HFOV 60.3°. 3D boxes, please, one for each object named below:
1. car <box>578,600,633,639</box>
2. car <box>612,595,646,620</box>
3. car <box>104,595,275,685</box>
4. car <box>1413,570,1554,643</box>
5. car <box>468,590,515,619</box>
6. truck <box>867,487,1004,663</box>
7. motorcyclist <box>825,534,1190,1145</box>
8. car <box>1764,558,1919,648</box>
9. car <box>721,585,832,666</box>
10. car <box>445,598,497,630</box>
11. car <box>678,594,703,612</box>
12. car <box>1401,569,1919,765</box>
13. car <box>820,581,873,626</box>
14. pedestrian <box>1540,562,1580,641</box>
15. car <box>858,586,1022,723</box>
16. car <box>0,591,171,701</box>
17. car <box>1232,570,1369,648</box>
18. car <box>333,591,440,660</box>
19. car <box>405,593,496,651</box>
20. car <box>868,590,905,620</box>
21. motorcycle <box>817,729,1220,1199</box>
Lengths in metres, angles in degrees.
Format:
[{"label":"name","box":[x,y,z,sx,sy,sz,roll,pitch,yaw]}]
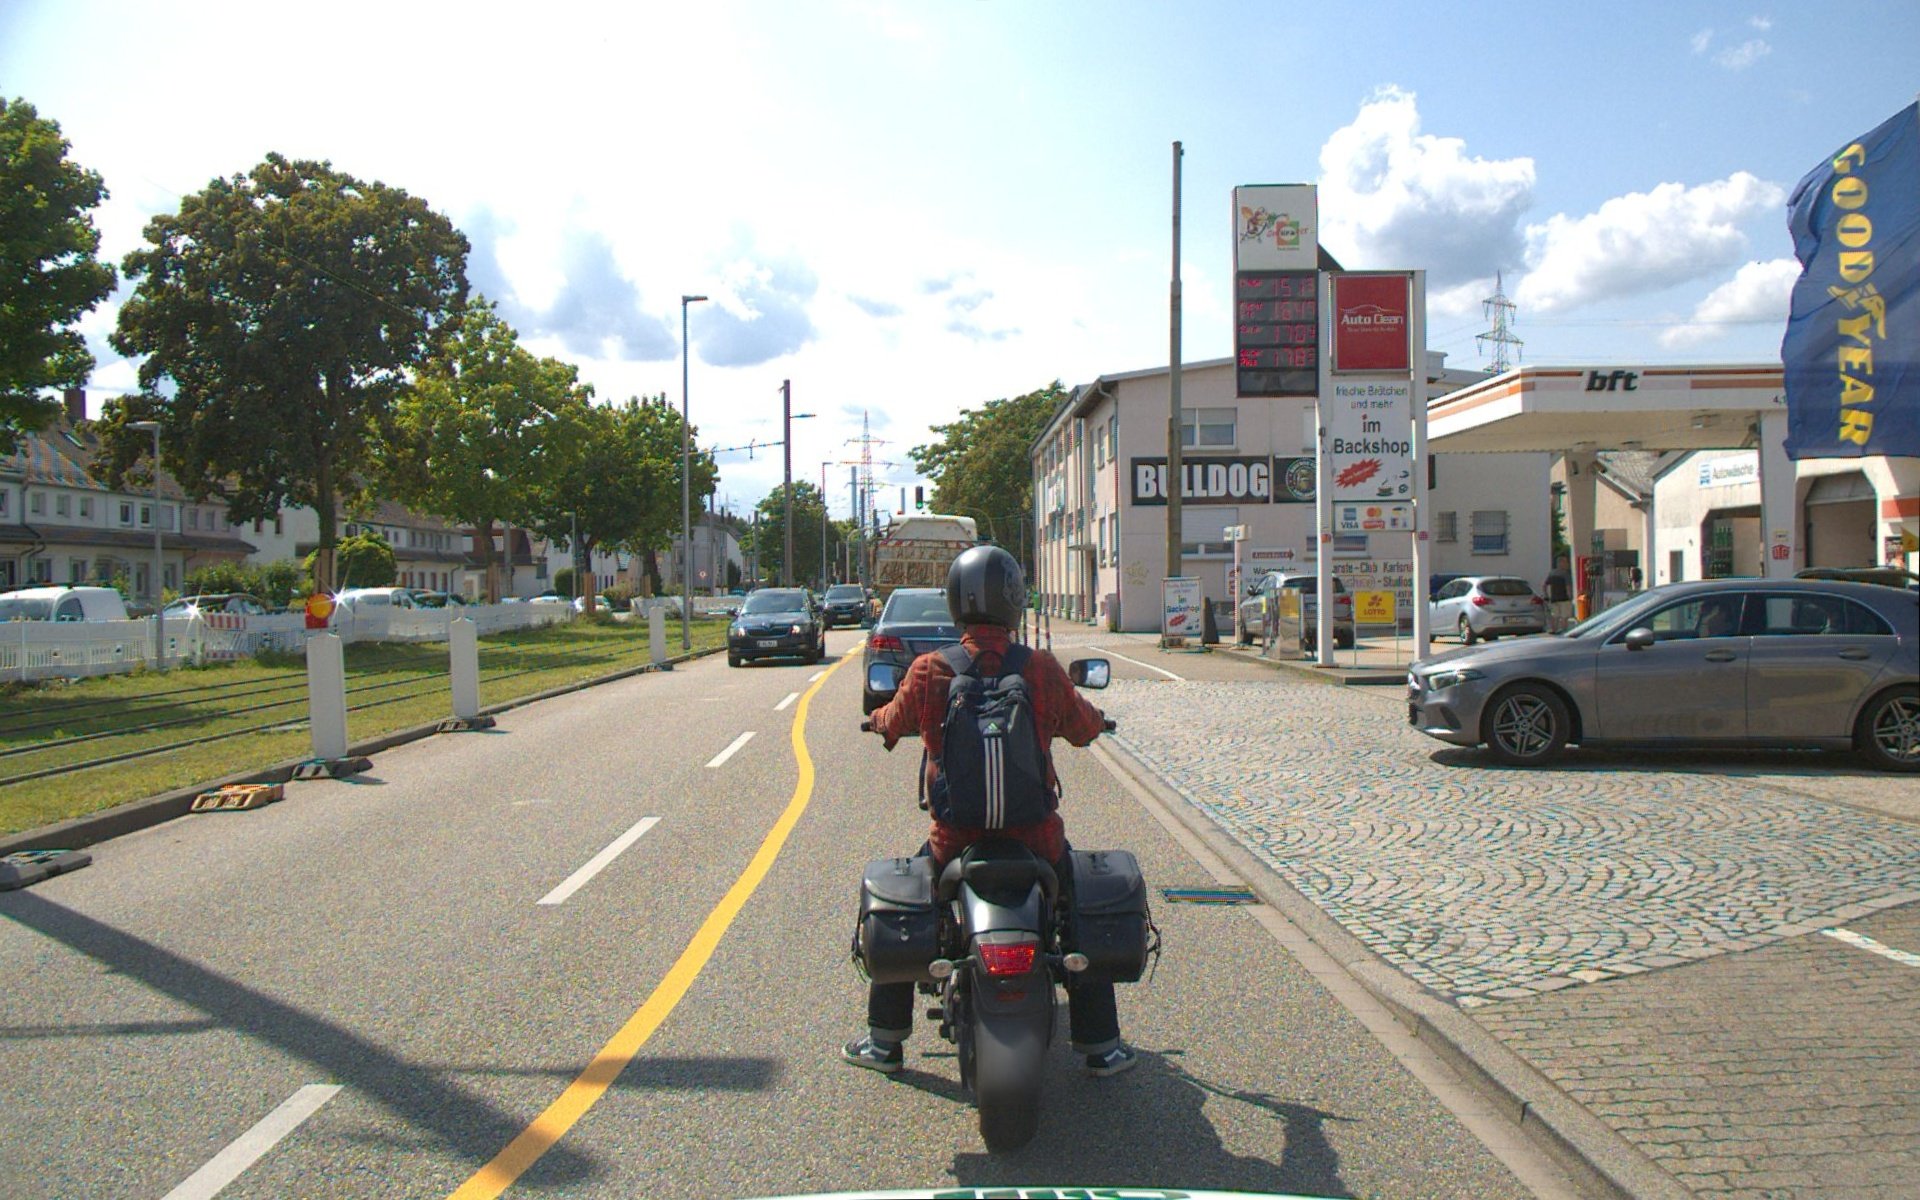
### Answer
[{"label":"car","box":[-17.055,0.906,79.680,1.740,1.753,4.127,-1,0,-1]},{"label":"car","box":[-24.964,0.544,124.847,1.740,1.753,4.127,-1,0,-1]},{"label":"car","box":[-16.673,0.812,36.021,1.740,1.805,4.227,-1,0,-1]},{"label":"car","box":[11.722,0.118,37.262,1.770,1.529,3.831,-1,0,-3]},{"label":"car","box":[-29.425,0.271,103.947,1.740,1.753,4.127,-1,0,-1]},{"label":"truck","box":[-0.527,-0.514,36.052,2.585,3.354,8.055,-1,0,-1]},{"label":"motorcyclist","box":[0.122,0.640,5.013,0.959,1.630,1.087,-1,0,-1]},{"label":"car","box":[16.619,0.023,30.316,1.770,1.529,3.832,-1,0,-3]},{"label":"car","box":[-3.654,0.459,33.550,1.786,1.478,4.323,-2,0,-1]},{"label":"car","box":[-28.299,0.775,95.830,1.740,1.753,4.127,-1,0,-1]},{"label":"car","box":[-26.078,0.279,160.254,1.740,1.753,4.250,-1,0,-1]},{"label":"car","box":[5.761,0.507,13.263,4.181,1.440,1.675,-1,0,12]},{"label":"car","box":[-4.396,0.122,64.416,1.786,1.630,4.323,-2,0,-1]},{"label":"pedestrian","box":[12.954,0.029,35.708,0.696,1.685,0.546,-1,0,35]},{"label":"car","box":[-0.248,0.588,20.213,1.786,1.478,3.999,1,0,-1]},{"label":"car","box":[-16.420,0.781,30.385,1.740,1.853,4.363,-1,0,-1]},{"label":"car","box":[7.458,0.174,36.626,1.636,1.589,4.236,-1,0,-8]},{"label":"car","box":[-16.939,0.712,49.078,1.740,1.900,4.127,-1,0,-1]},{"label":"car","box":[-16.971,0.697,55.256,1.740,1.837,4.127,-1,0,-1]},{"label":"car","box":[-3.885,0.269,88.329,1.786,1.478,4.323,-2,0,-1]},{"label":"motorcycle","box":[0.124,0.994,5.319,0.959,0.913,2.653,-1,0,-1]}]
